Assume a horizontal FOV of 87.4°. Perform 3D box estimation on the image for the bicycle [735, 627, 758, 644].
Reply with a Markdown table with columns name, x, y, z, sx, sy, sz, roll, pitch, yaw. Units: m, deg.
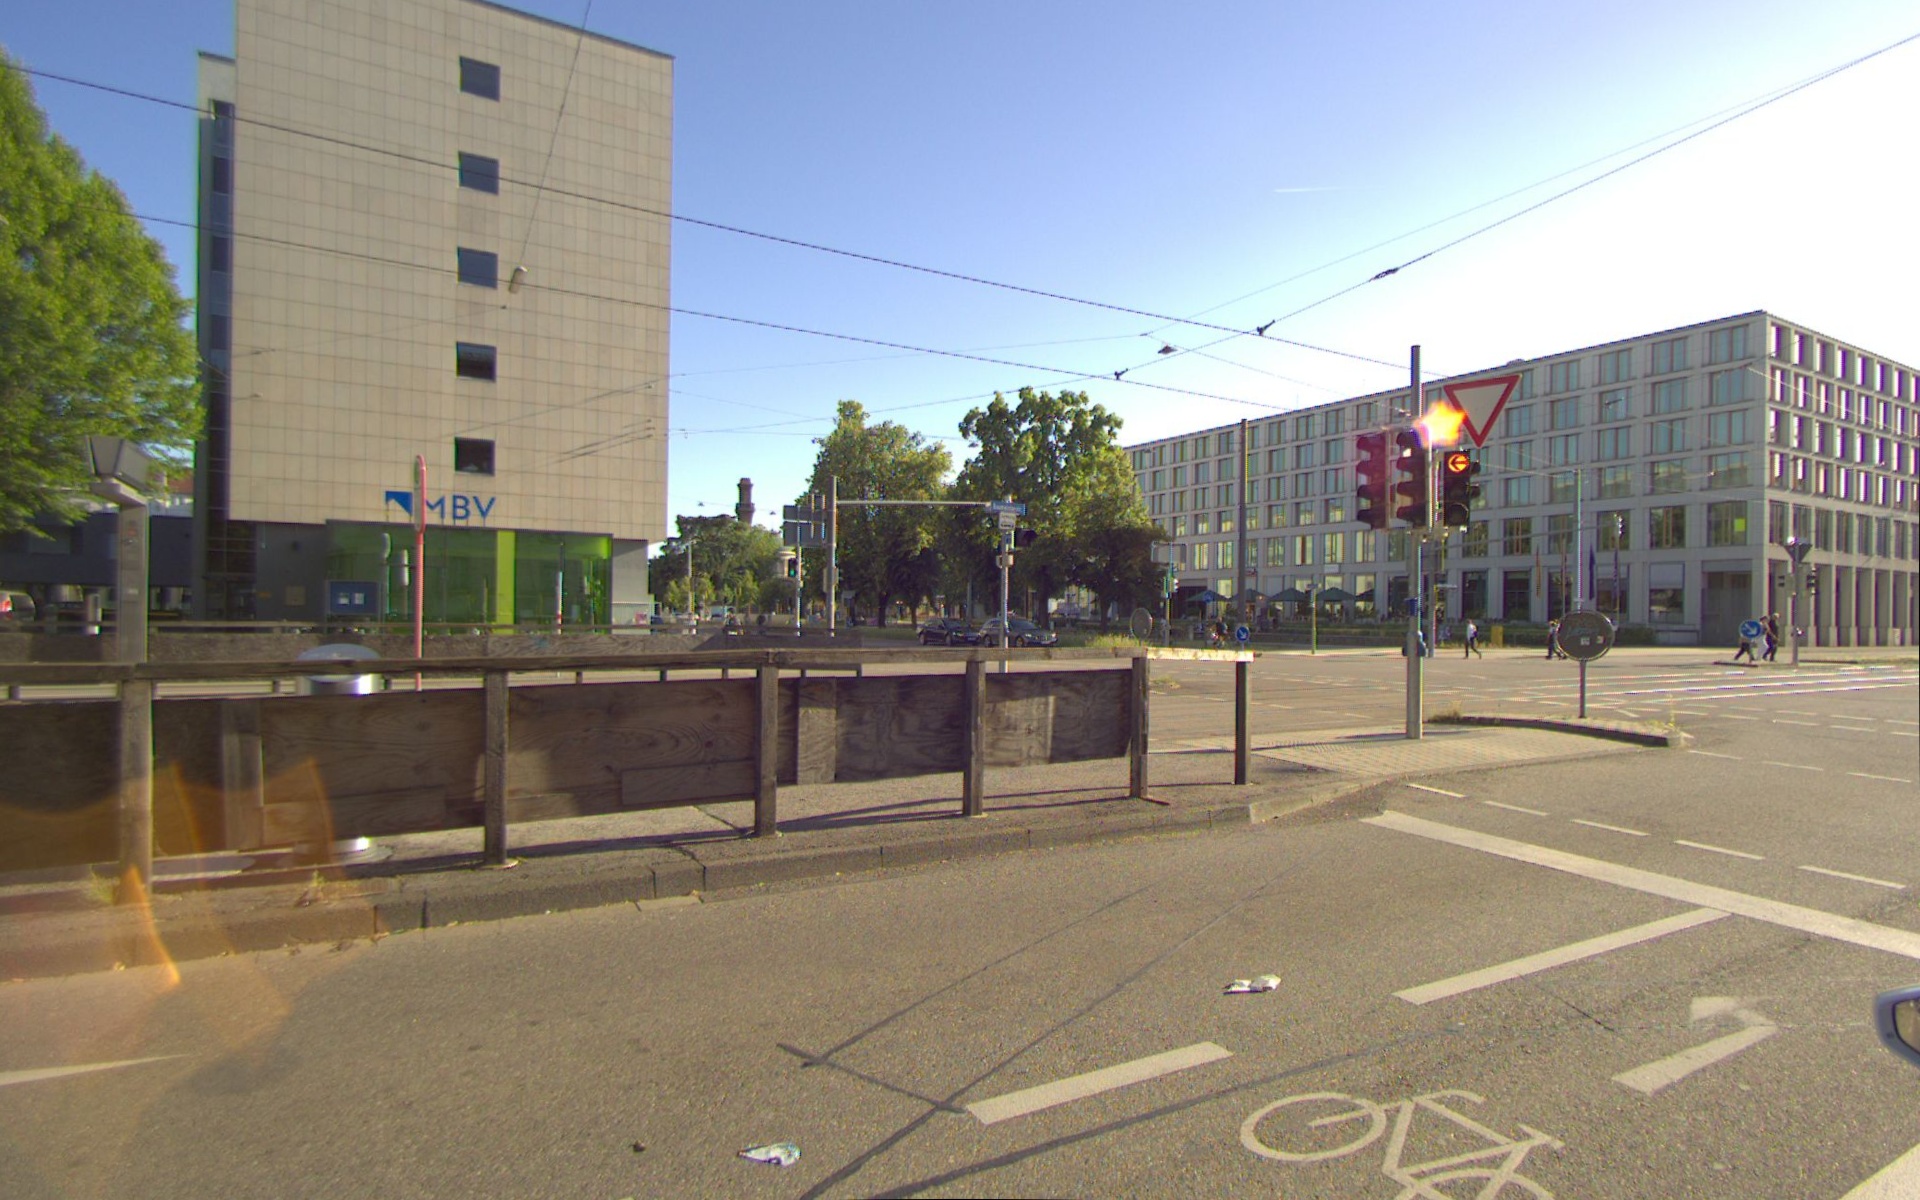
| name | x | y | z | sx | sy | sz | roll | pitch | yaw |
| --- | --- | --- | --- | --- | --- | --- | --- | --- | --- |
| bicycle | -12.898 | 2.144 | 60.655 | 0.669 | 0.973 | 2.131 | 1 | -1 | -32 |

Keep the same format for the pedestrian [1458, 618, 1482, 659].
| name | x | y | z | sx | sy | sz | roll | pitch | yaw |
| --- | --- | --- | --- | --- | --- | --- | --- | --- | --- |
| pedestrian | 24.135 | 1.807 | 47.576 | 0.628 | 1.943 | 0.800 | 1 | -1 | -24 |

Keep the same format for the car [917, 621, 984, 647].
| name | x | y | z | sx | sy | sz | roll | pitch | yaw |
| --- | --- | --- | --- | --- | --- | --- | --- | --- | --- |
| car | -0.542 | 1.787 | 53.362 | 1.755 | 1.311 | 4.209 | 1 | -1 | -30 |

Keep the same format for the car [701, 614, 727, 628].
| name | x | y | z | sx | sy | sz | roll | pitch | yaw |
| --- | --- | --- | --- | --- | --- | --- | --- | --- | --- |
| car | -27.888 | 2.365 | 113.784 | 1.614 | 1.452 | 4.021 | 3 | -2 | -31 |

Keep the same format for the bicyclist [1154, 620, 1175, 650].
| name | x | y | z | sx | sy | sz | roll | pitch | yaw |
| --- | --- | --- | --- | --- | --- | --- | --- | --- | --- |
| bicyclist | 10.729 | 1.831 | 52.711 | 0.569 | 1.581 | 0.969 | 1 | -1 | -33 |

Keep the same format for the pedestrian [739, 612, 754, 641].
| name | x | y | z | sx | sy | sz | roll | pitch | yaw |
| --- | --- | --- | --- | --- | --- | --- | --- | --- | --- |
| pedestrian | -12.888 | 1.607 | 60.665 | 0.666 | 1.739 | 0.754 | 1 | -1 | -32 |

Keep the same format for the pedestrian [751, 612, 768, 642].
| name | x | y | z | sx | sy | sz | roll | pitch | yaw |
| --- | --- | --- | --- | --- | --- | --- | --- | --- | --- |
| pedestrian | -12.249 | 1.663 | 61.410 | 0.818 | 1.829 | 0.754 | 1 | -1 | -31 |

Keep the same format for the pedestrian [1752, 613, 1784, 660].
| name | x | y | z | sx | sy | sz | roll | pitch | yaw |
| --- | --- | --- | --- | --- | --- | --- | --- | --- | --- |
| pedestrian | 31.063 | 1.388 | 38.632 | 0.668 | 1.784 | 0.746 | 2 | -2 | -25 |

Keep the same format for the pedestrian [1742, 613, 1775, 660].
| name | x | y | z | sx | sy | sz | roll | pitch | yaw |
| --- | --- | --- | --- | --- | --- | --- | --- | --- | --- |
| pedestrian | 29.057 | 1.318 | 36.561 | 0.615 | 1.666 | 0.787 | 1 | -1 | -34 |

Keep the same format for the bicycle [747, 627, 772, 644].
| name | x | y | z | sx | sy | sz | roll | pitch | yaw |
| --- | --- | --- | --- | --- | --- | --- | --- | --- | --- |
| bicycle | -12.248 | 2.177 | 61.382 | 0.818 | 0.973 | 2.132 | 1 | -1 | -31 |

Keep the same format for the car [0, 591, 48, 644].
| name | x | y | z | sx | sy | sz | roll | pitch | yaw |
| --- | --- | --- | --- | --- | --- | --- | --- | --- | --- |
| car | -27.748 | 0.448 | 27.752 | 3.371 | 1.431 | 1.562 | 2 | 0 | -20 |

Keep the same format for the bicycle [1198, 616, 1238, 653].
| name | x | y | z | sx | sy | sz | roll | pitch | yaw |
| --- | --- | --- | --- | --- | --- | --- | --- | --- | --- |
| bicycle | 12.680 | 1.679 | 49.405 | 0.592 | 1.758 | 1.880 | 1 | -1 | -42 |

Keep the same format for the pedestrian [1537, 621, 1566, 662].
| name | x | y | z | sx | sy | sz | roll | pitch | yaw |
| --- | --- | --- | --- | --- | --- | --- | --- | --- | --- |
| pedestrian | 26.305 | 1.837 | 44.677 | 0.654 | 1.827 | 0.868 | 1 | -1 | -24 |

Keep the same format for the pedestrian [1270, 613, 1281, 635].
| name | x | y | z | sx | sy | sz | roll | pitch | yaw |
| --- | --- | --- | --- | --- | --- | --- | --- | --- | --- |
| pedestrian | 24.991 | 1.896 | 79.570 | 0.556 | 1.691 | 0.537 | 2 | 0 | -33 |

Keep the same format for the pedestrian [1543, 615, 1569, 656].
| name | x | y | z | sx | sy | sz | roll | pitch | yaw |
| --- | --- | --- | --- | --- | --- | --- | --- | --- | --- |
| pedestrian | 27.056 | 1.622 | 45.590 | 0.706 | 1.827 | 0.737 | 1 | -1 | -24 |

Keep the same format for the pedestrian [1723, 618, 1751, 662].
| name | x | y | z | sx | sy | sz | roll | pitch | yaw |
| --- | --- | --- | --- | --- | --- | --- | --- | --- | --- |
| pedestrian | 30.044 | 1.542 | 38.834 | 0.614 | 1.666 | 0.691 | 1 | -1 | -29 |

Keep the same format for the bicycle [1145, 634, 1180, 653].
| name | x | y | z | sx | sy | sz | roll | pitch | yaw |
| --- | --- | --- | --- | --- | --- | --- | --- | --- | --- |
| bicycle | 10.639 | 2.269 | 52.835 | 0.569 | 0.945 | 2.052 | 1 | -1 | -33 |

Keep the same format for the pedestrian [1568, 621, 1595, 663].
| name | x | y | z | sx | sy | sz | roll | pitch | yaw |
| --- | --- | --- | --- | --- | --- | --- | --- | --- | --- |
| pedestrian | 27.388 | 1.828 | 44.287 | 0.525 | 1.827 | 0.867 | 1 | -1 | -24 |

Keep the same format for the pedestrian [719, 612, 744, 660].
| name | x | y | z | sx | sy | sz | roll | pitch | yaw |
| --- | --- | --- | --- | --- | --- | --- | --- | --- | --- |
| pedestrian | -8.444 | 1.336 | 37.070 | 0.814 | 1.739 | 0.757 | 1 | -1 | -18 |

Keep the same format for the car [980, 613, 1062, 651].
| name | x | y | z | sx | sy | sz | roll | pitch | yaw |
| --- | --- | --- | --- | --- | --- | --- | --- | --- | --- |
| car | 2.849 | 1.505 | 47.896 | 1.829 | 1.602 | 4.496 | 1 | 1 | -28 |

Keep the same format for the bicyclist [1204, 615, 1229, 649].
| name | x | y | z | sx | sy | sz | roll | pitch | yaw |
| --- | --- | --- | --- | --- | --- | --- | --- | --- | --- |
| bicyclist | 12.633 | 1.582 | 49.454 | 0.592 | 1.662 | 1.065 | 1 | -1 | -42 |
